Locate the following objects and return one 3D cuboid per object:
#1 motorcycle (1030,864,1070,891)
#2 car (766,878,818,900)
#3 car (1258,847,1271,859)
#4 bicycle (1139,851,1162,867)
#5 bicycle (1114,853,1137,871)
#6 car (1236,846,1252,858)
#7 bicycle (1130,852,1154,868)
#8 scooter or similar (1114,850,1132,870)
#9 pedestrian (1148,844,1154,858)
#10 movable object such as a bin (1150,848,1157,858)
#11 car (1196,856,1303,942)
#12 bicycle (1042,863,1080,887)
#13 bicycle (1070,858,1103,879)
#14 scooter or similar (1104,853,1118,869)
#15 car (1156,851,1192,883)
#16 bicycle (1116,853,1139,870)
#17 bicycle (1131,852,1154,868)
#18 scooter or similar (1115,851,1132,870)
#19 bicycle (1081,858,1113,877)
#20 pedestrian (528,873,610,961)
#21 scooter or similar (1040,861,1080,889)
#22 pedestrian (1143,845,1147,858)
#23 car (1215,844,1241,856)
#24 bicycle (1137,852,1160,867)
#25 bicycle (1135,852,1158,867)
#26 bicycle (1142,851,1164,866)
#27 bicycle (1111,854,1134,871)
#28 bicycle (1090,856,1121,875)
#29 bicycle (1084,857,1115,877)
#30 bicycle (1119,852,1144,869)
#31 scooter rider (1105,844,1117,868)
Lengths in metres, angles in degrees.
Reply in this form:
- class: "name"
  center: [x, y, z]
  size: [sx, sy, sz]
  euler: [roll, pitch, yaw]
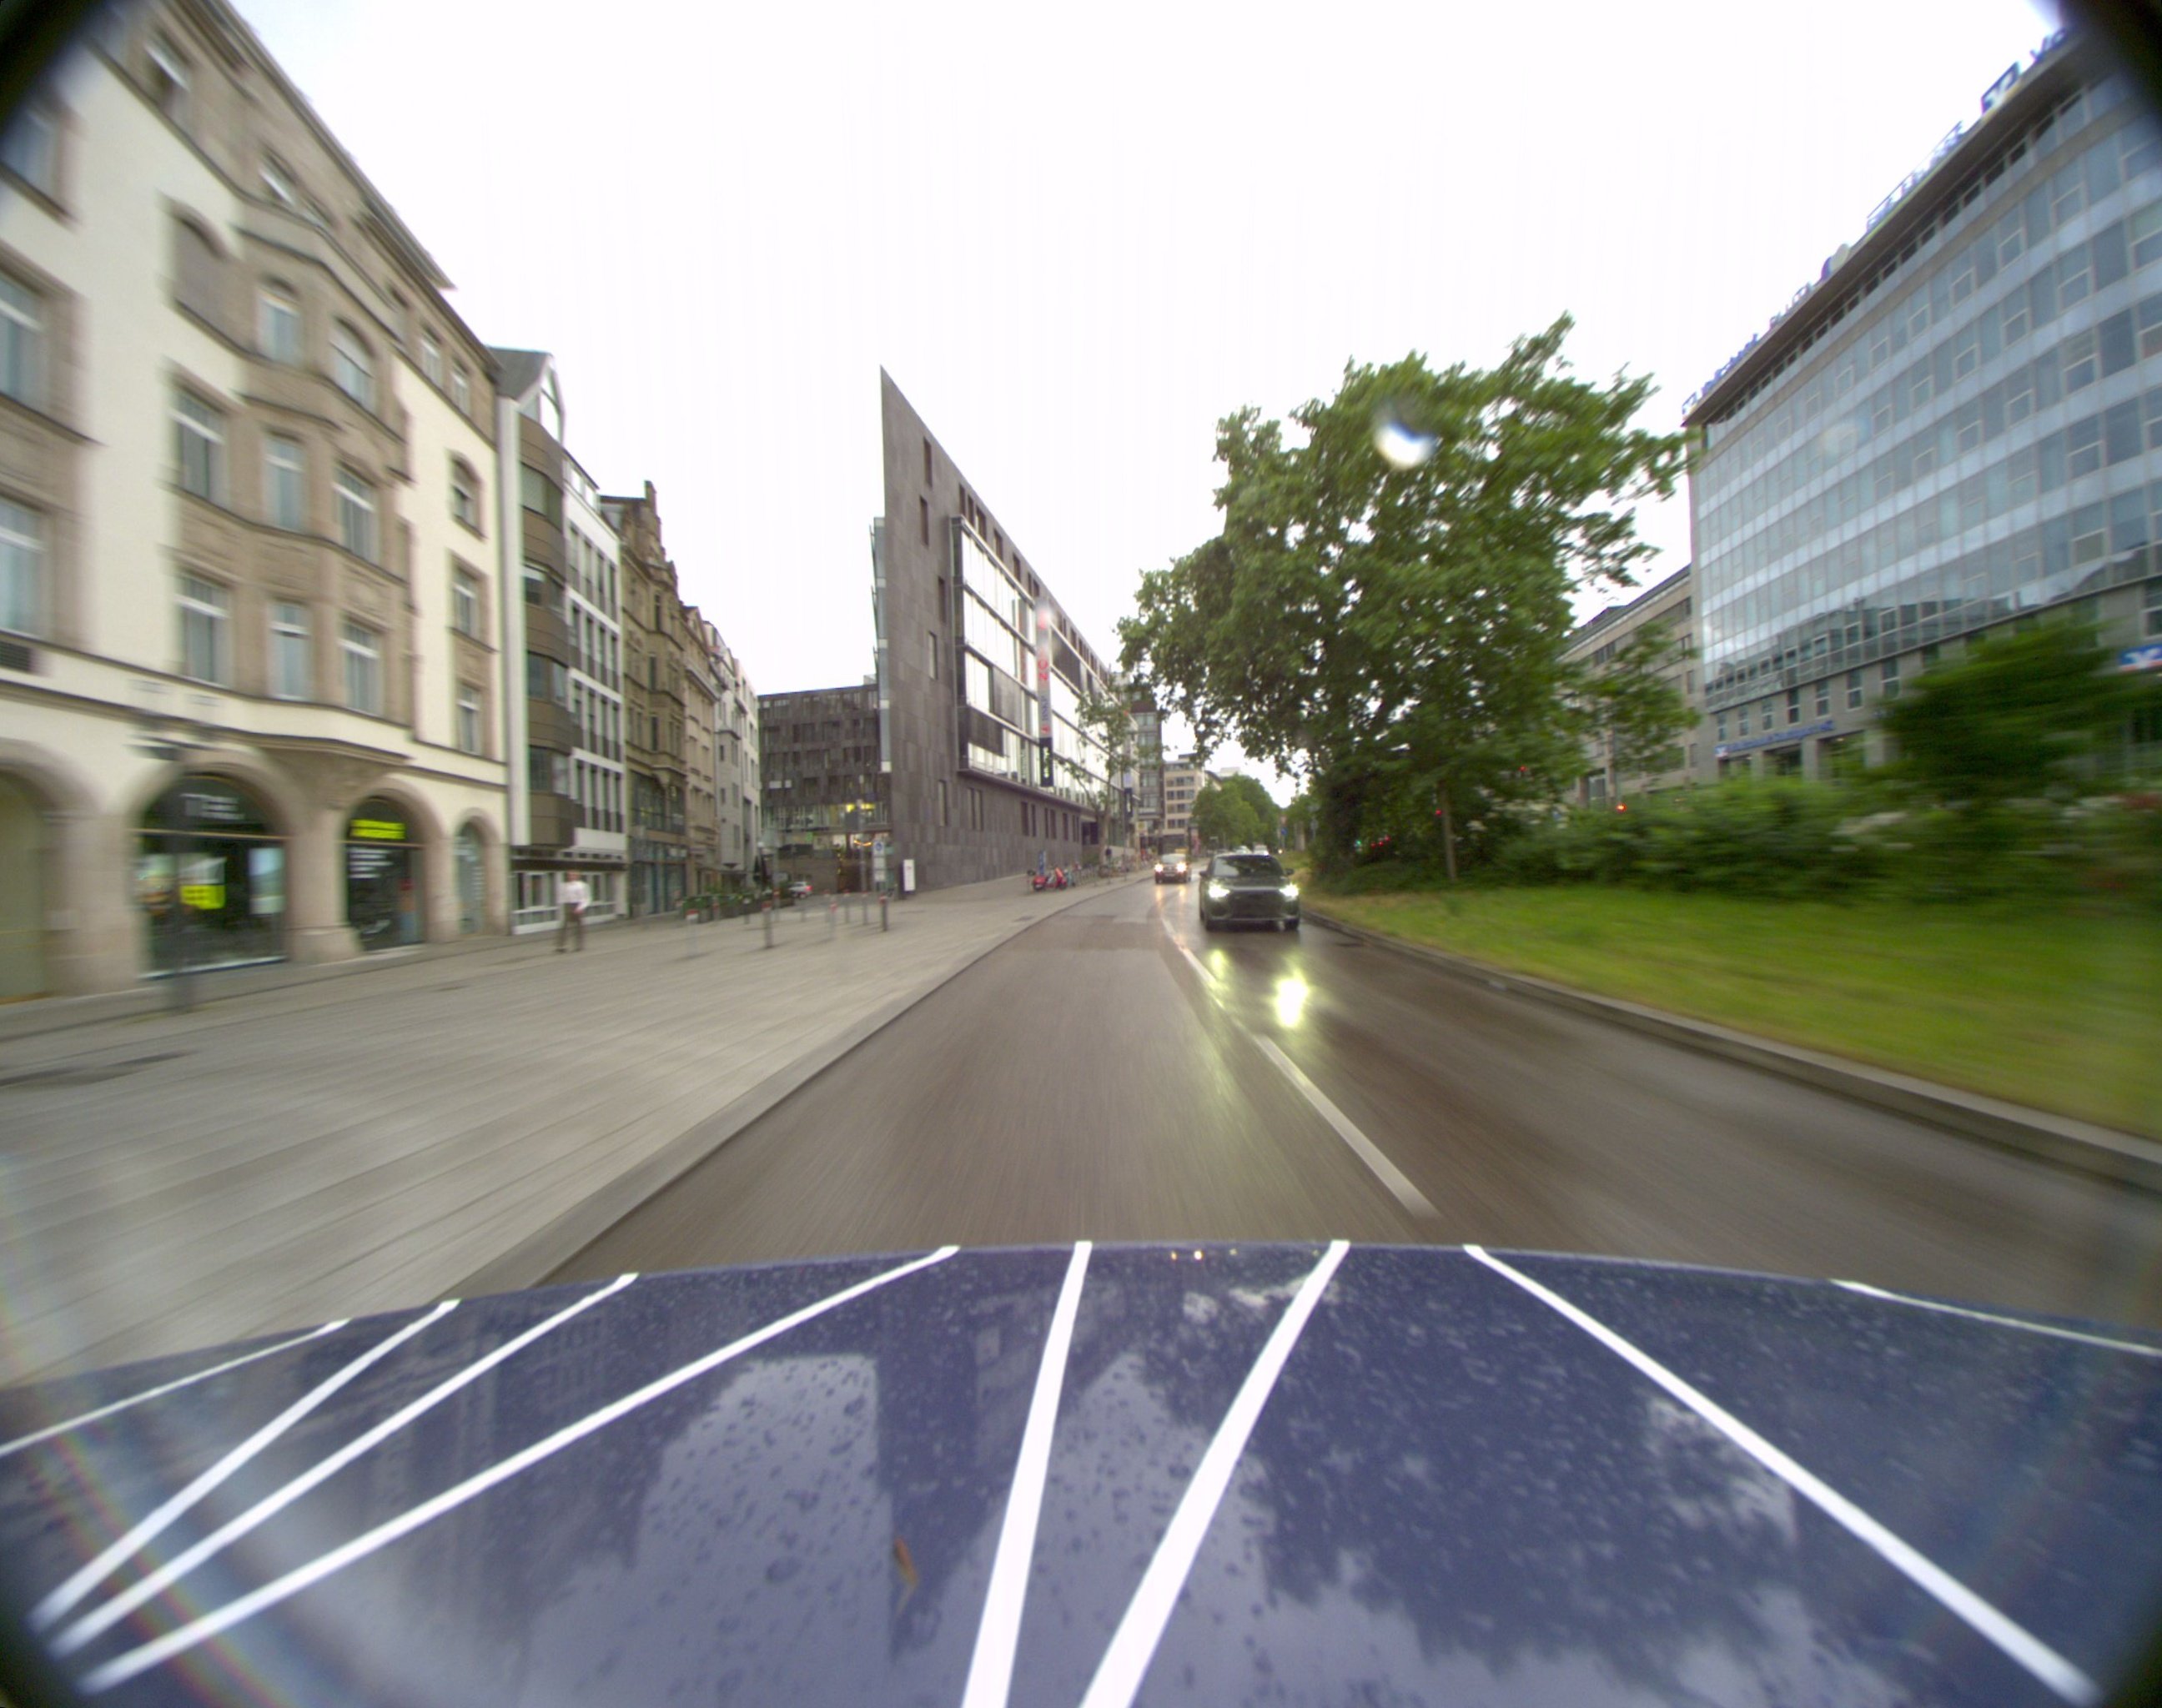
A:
- class: "motorcycle"
  center: [-1.475, 1.116, 36.296]
  size: [1.795, 1.133, 0.596]
  euler: [-3, 2, 8]
- class: "car"
  center: [-25.155, 3.036, 66.265]
  size: [4.072, 1.608, 1.701]
  euler: [-4, 1, -21]
- class: "car"
  center: [24.662, -0.153, 102.228]
  size: [1.604, 1.377, 3.022]
  euler: [-4, 0, 14]
- class: "bicycle"
  center: [5.593, 0.402, 61.031]
  size: [1.733, 1.176, 0.689]
  euler: [-1, 1, 8]
- class: "bicycle"
  center: [3.112, 0.556, 53.383]
  size: [1.537, 1.134, 0.689]
  euler: [-2, 2, 8]
- class: "car"
  center: [23.922, -0.258, 111.411]
  size: [2.070, 1.578, 4.111]
  euler: [-4, 0, 14]
- class: "bicycle"
  center: [4.651, 0.468, 57.789]
  size: [1.733, 1.133, 0.689]
  euler: [-1, 1, 8]
- class: "scooter or similar"
  center: [2.847, 0.411, 51.454]
  size: [1.108, 1.251, 0.302]
  euler: [-2, 2, 7]
- class: "pedestrian"
  center: [9.429, -0.401, 102.679]
  size: [0.723, 1.820, 0.747]
  euler: [0, 1, 12]
- class: "movable object such as a bin"
  center: [9.664, -0.112, 101.321]
  size: [0.804, 1.258, 1.789]
  euler: [0, 1, 12]
- class: "car"
  center: [3.528, 0.869, 16.613]
  size: [1.864, 1.509, 4.347]
  euler: [-2, 0, 8]
- class: "bicycle"
  center: [-1.000, 1.053, 38.749]
  size: [1.798, 1.101, 0.670]
  euler: [-3, 2, 8]
- class: "bicycle"
  center: [0.331, 0.853, 43.989]
  size: [1.798, 1.101, 0.670]
  euler: [-3, 2, 8]
- class: "scooter or similar"
  center: [2.516, 0.585, 63.689]
  size: [0.779, 1.298, 1.336]
  euler: [-1, 1, 17]
- class: "car"
  center: [4.913, 0.662, 39.709]
  size: [1.593, 1.501, 3.712]
  euler: [-2, 0, 11]
- class: "bicycle"
  center: [3.331, 0.521, 54.143]
  size: [1.537, 1.134, 0.689]
  euler: [-2, 2, 8]
- class: "bicycle"
  center: [4.749, 0.463, 58.573]
  size: [1.733, 1.133, 0.689]
  euler: [-1, 1, 8]
- class: "scooter or similar"
  center: [2.858, 0.454, 51.081]
  size: [1.062, 1.251, 0.302]
  euler: [-2, 2, 7]
- class: "bicycle"
  center: [0.993, 0.805, 45.692]
  size: [1.797, 1.062, 0.556]
  euler: [-3, 2, 9]
- class: "pedestrian"
  center: [-11.721, 1.414, 17.434]
  size: [0.874, 1.827, 1.249]
  euler: [-4, 1, 0]
- class: "scooter or similar"
  center: [-1.019, 1.013, 37.299]
  size: [1.795, 1.236, 0.596]
  euler: [-3, 2, 8]
- class: "pedestrian"
  center: [8.645, -0.360, 102.865]
  size: [0.484, 1.689, 0.580]
  euler: [0, 1, 12]
- class: "car"
  center: [26.249, -0.742, 135.901]
  size: [2.003, 1.801, 4.202]
  euler: [-4, 0, -41]
- class: "bicycle"
  center: [5.377, 0.412, 60.222]
  size: [1.733, 1.176, 0.689]
  euler: [-1, 1, 8]
- class: "bicycle"
  center: [5.109, 0.429, 59.301]
  size: [1.733, 1.176, 0.689]
  euler: [-1, 1, 8]
- class: "bicycle"
  center: [5.922, 0.381, 62.161]
  size: [1.733, 1.176, 0.689]
  euler: [-1, 1, 8]
- class: "bicycle"
  center: [2.886, 0.580, 52.649]
  size: [1.537, 1.134, 0.663]
  euler: [-2, 2, 8]
- class: "bicycle"
  center: [1.517, 0.728, 47.131]
  size: [1.797, 1.062, 0.556]
  euler: [-3, 2, 9]
- class: "bicycle"
  center: [1.134, 0.787, 46.317]
  size: [1.797, 1.062, 0.556]
  euler: [-3, 2, 9]
- class: "bicycle"
  center: [3.667, 0.495, 54.820]
  size: [1.709, 1.134, 0.689]
  euler: [-2, 2, 8]
- class: "scooter rider"
  center: [2.501, 0.182, 63.641]
  size: [0.779, 2.009, 0.925]
  euler: [-1, 1, 17]
